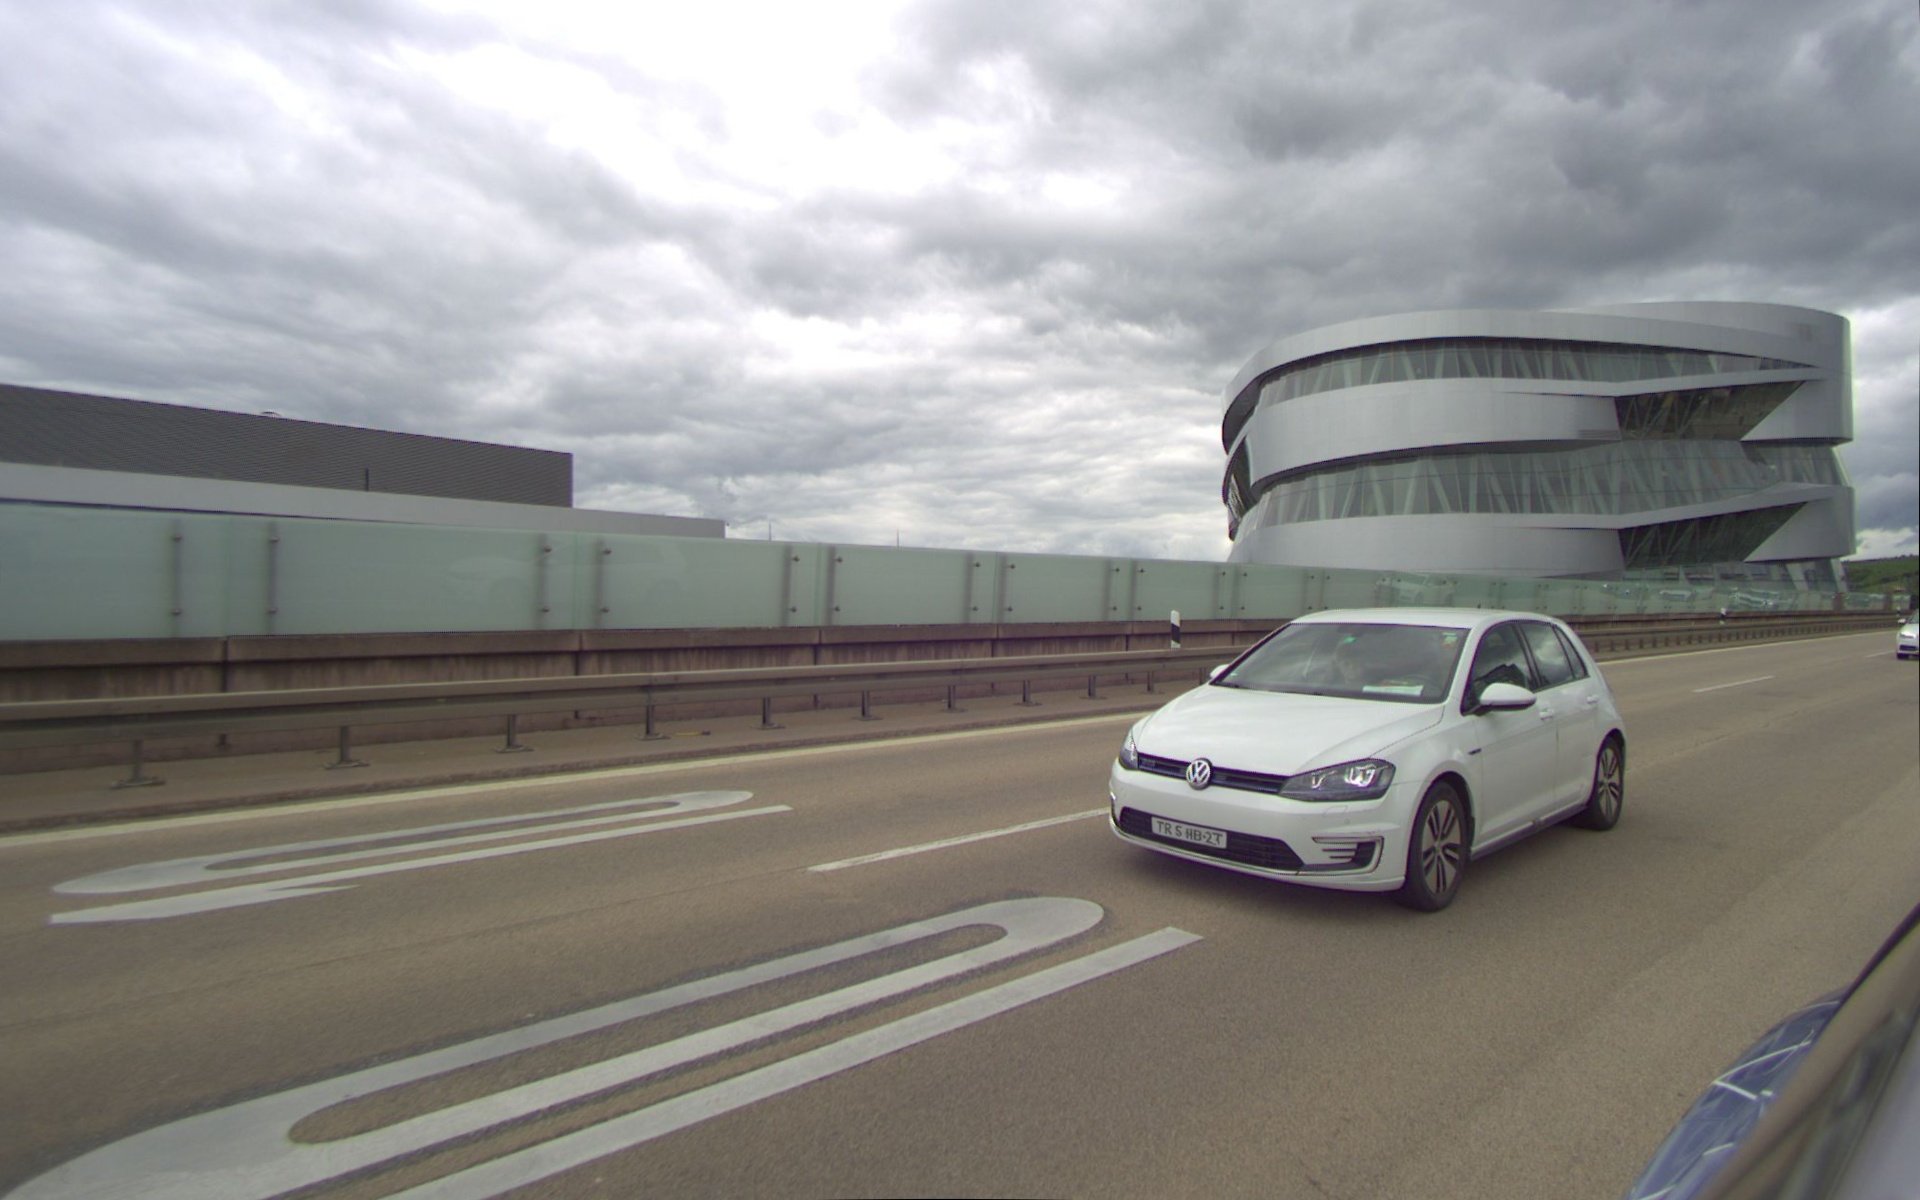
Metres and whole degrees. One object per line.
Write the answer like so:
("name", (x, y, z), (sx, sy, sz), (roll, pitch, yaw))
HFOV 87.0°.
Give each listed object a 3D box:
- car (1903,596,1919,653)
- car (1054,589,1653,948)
("car", (26.821, 0.641, 27.009), (3.860, 1.470, 1.848), (0, 0, -38))
("car", (2.595, 0.695, 6.178), (4.001, 1.470, 1.757), (0, 1, -41))
